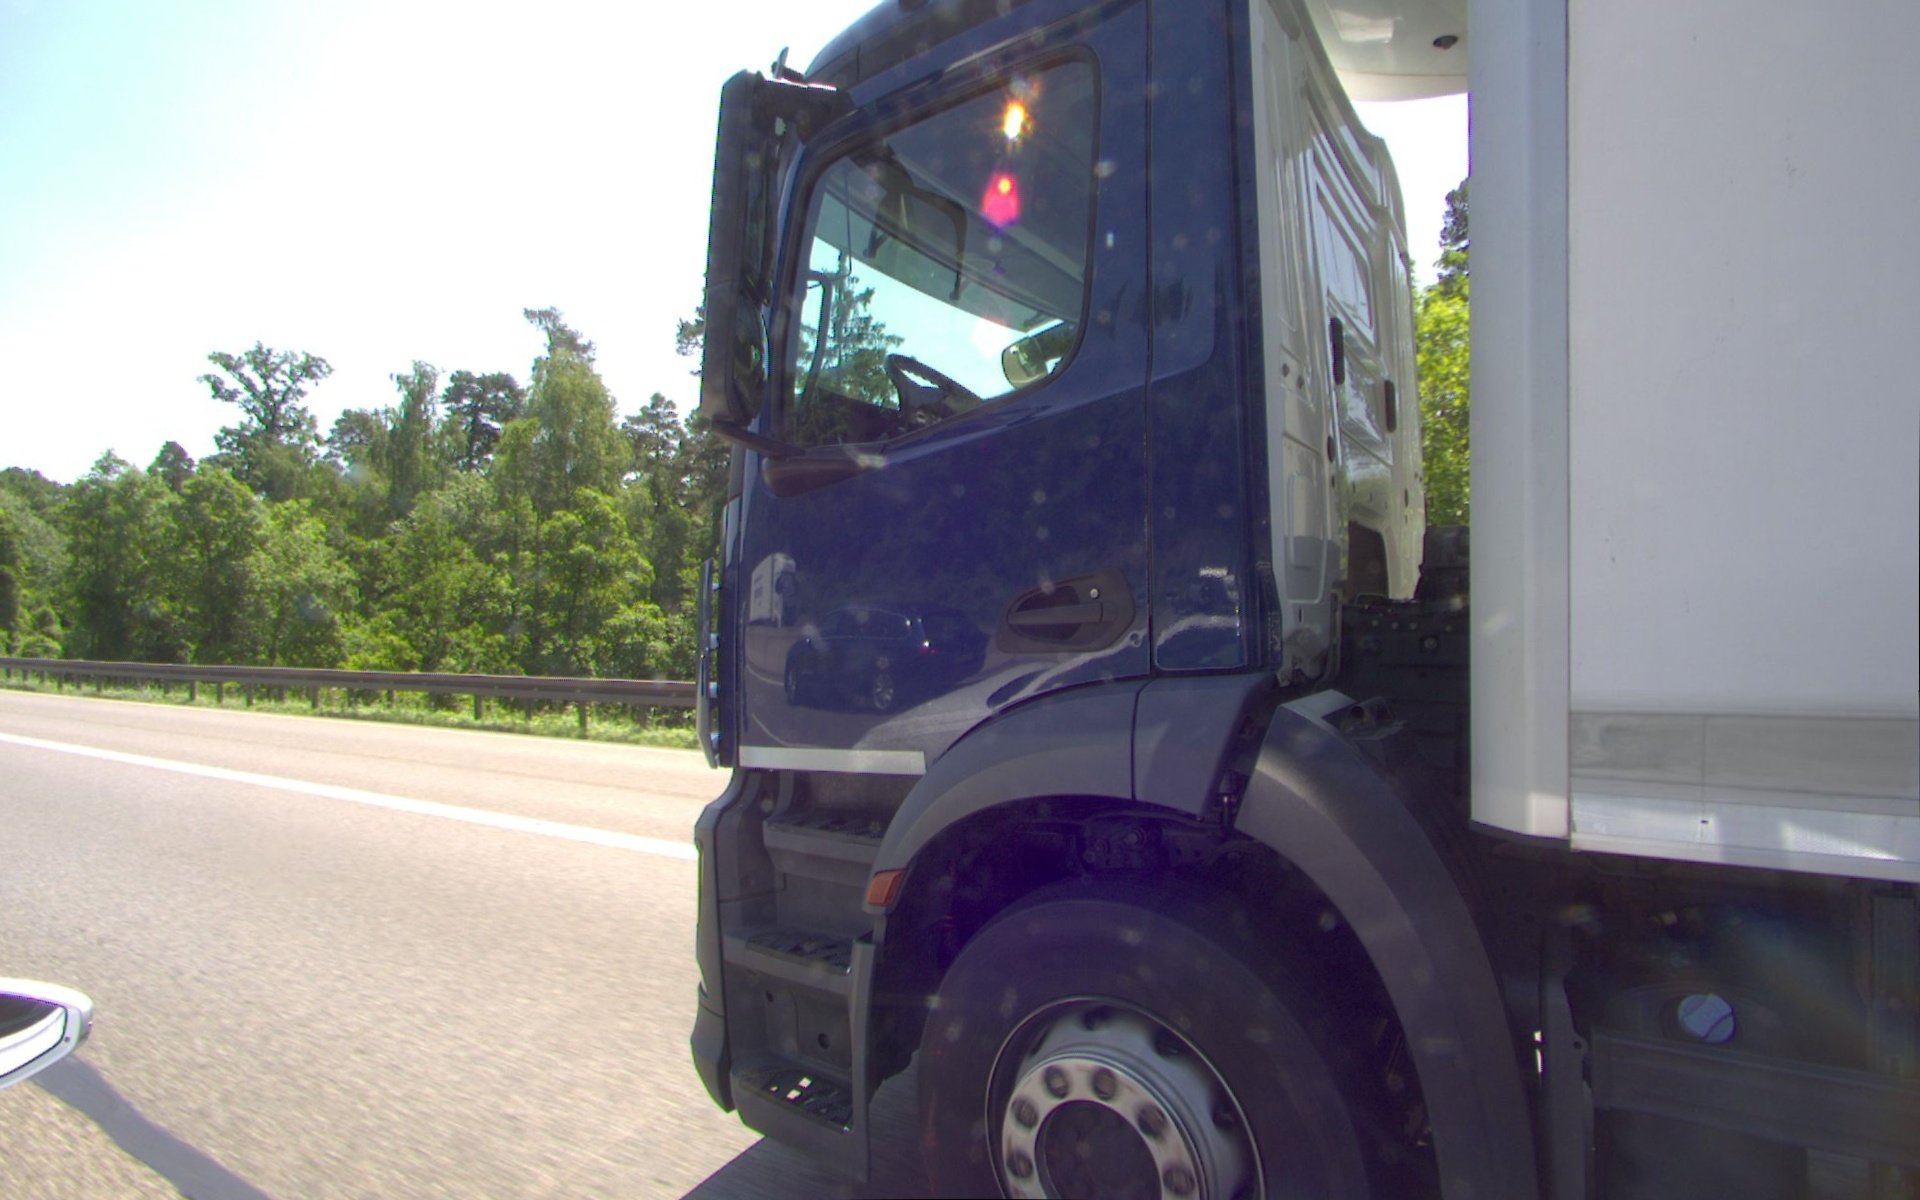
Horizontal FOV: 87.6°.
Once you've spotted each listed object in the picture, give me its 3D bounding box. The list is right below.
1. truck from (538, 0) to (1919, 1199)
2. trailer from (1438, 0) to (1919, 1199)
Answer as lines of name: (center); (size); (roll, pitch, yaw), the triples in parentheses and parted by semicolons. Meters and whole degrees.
truck: (1.374, 0.008, 2.361); (4.048, 2.978, 2.550); (-2, -1, 34)
trailer: (4.563, -0.089, 0.298); (7.769, 2.936, 2.551); (-1, -2, 32)
